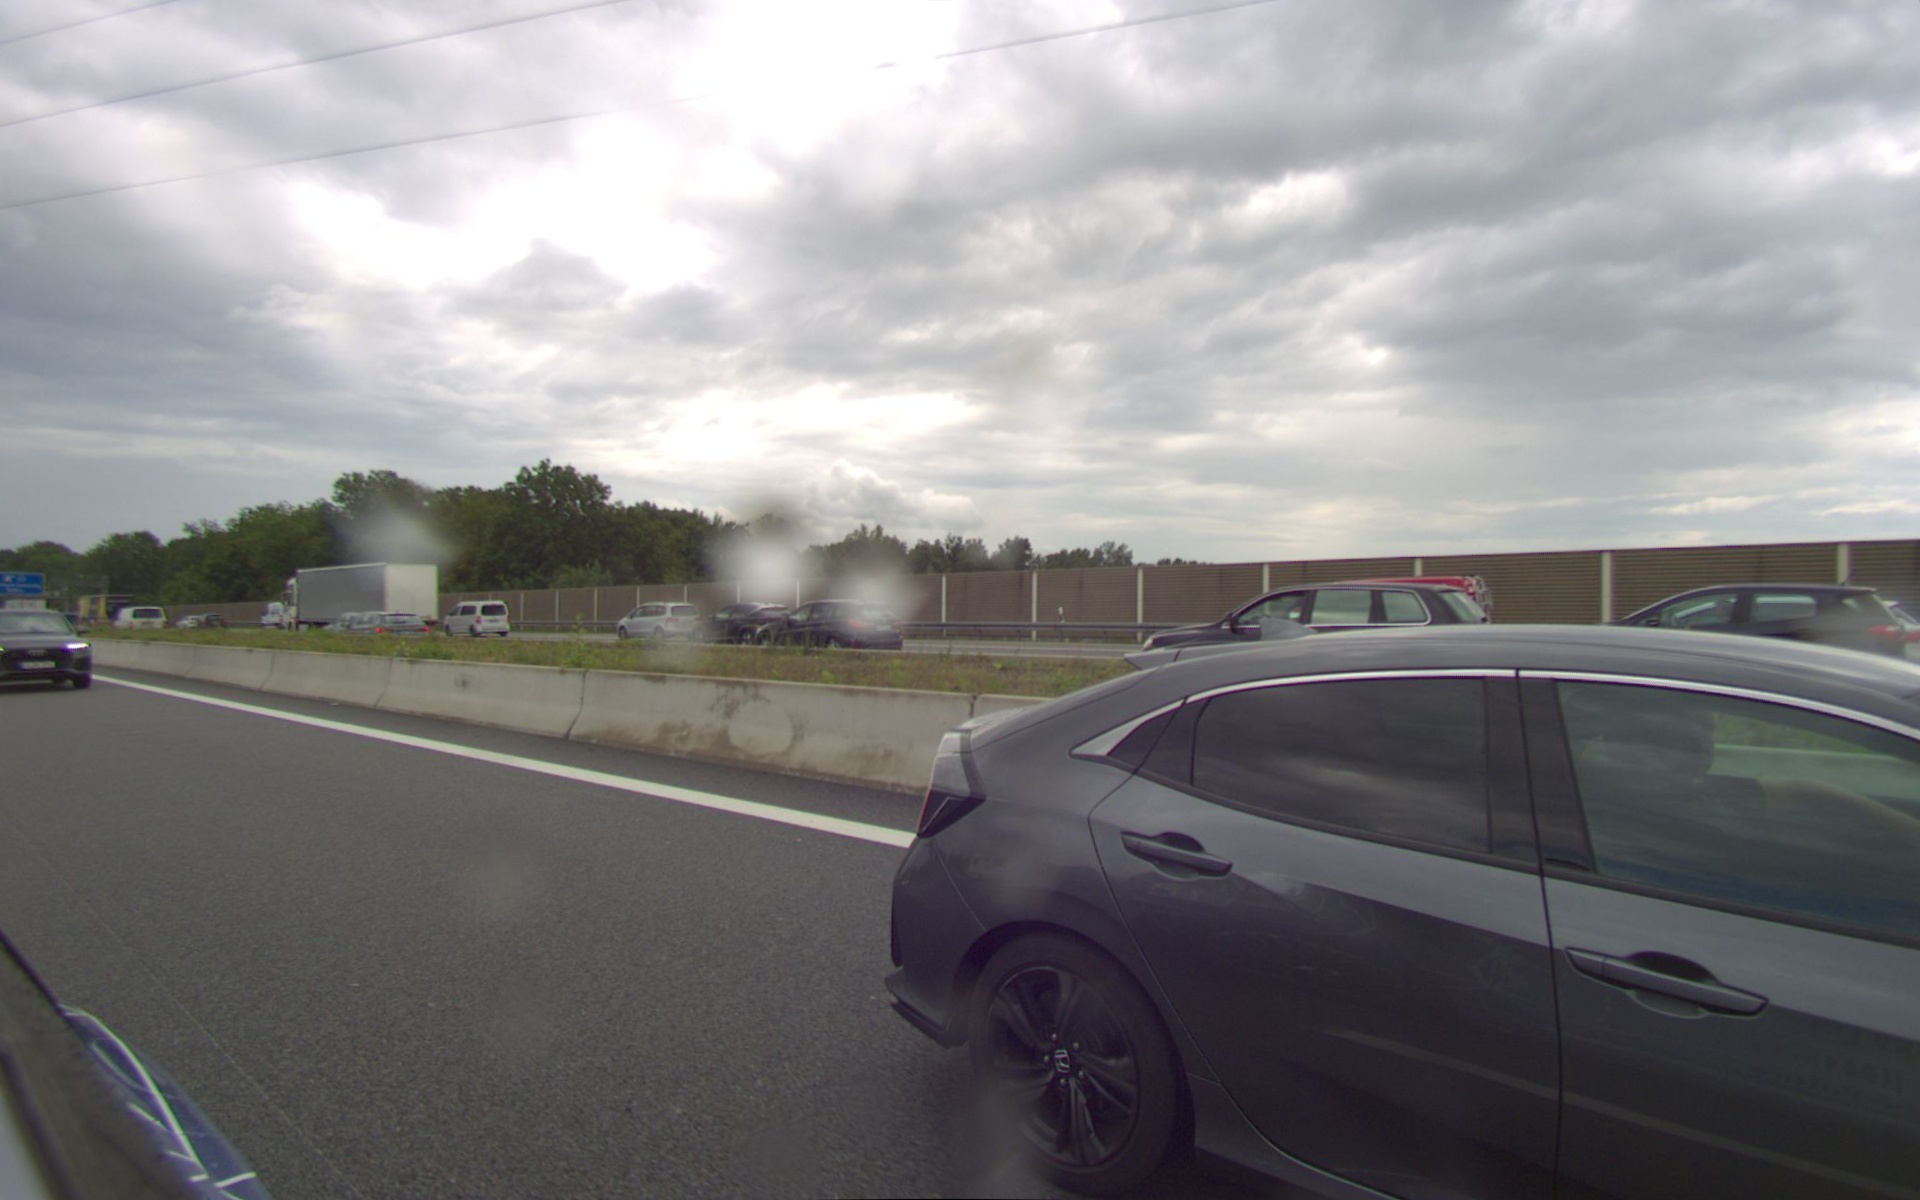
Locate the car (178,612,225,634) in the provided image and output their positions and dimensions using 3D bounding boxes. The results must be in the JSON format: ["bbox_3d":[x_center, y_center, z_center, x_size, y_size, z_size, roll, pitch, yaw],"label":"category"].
[{"bbox_3d":[-57.712,1.733,76.943,5.157,1.548,1.747,-1,0,40],"label":"car"}]

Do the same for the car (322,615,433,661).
[{"bbox_3d":[-20.309,1.288,35.172,5.082,1.465,1.747,-1,0,40],"label":"car"}]

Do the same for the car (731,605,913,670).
[{"bbox_3d":[-3.604,0.910,25.821,4.940,1.465,1.747,-1,0,40],"label":"car"}]

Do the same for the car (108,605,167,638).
[{"bbox_3d":[-50.464,1.332,62.053,5.157,1.914,1.903,-1,0,40],"label":"car"}]

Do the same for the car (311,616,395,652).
[{"bbox_3d":[-27.986,1.542,46.584,5.157,1.548,1.747,-1,0,40],"label":"car"}]

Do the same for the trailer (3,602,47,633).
[{"bbox_3d":[-126.216,2.405,136.500,14.042,3.915,2.697,-1,0,41],"label":"trailer"}]

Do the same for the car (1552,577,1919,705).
[{"bbox_3d":[10.372,0.478,13.299,4.230,1.465,1.747,-1,0,40],"label":"car"}]

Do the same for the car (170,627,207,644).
[{"bbox_3d":[-74.125,3.369,97.238,5.157,1.507,1.747,-1,0,40],"label":"car"}]

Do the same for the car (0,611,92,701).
[{"bbox_3d":[-20.052,1.112,21.520,5.169,1.704,1.887,-1,-1,43],"label":"car"}]

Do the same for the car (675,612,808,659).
[{"bbox_3d":[-7.421,1.159,34.078,4.940,1.465,1.747,-1,0,40],"label":"car"}]

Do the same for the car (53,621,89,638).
[{"bbox_3d":[-84.505,2.782,96.205,5.709,1.560,1.747,-1,0,40],"label":"car"}]

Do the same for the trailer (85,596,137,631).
[{"bbox_3d":[-102.377,1.632,121.886,14.045,3.993,2.650,-1,0,41],"label":"trailer"}]

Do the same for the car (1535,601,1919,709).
[{"bbox_3d":[12.191,0.802,16.210,4.940,1.465,1.747,-1,0,40],"label":"car"}]

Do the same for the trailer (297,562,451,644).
[{"bbox_3d":[-32.806,0.234,56.221,13.281,4.092,3.285,-1,0,41],"label":"trailer"}]

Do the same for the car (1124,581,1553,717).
[{"bbox_3d":[4.761,0.552,13.248,4.940,1.465,1.808,-1,0,40],"label":"car"}]

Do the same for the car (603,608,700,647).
[{"bbox_3d":[-13.707,1.198,44.807,4.940,1.622,1.747,-1,0,40],"label":"car"}]

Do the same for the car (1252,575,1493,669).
[{"bbox_3d":[9.581,0.494,23.775,4.940,1.982,1.747,-1,0,40],"label":"car"}]

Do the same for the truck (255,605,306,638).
[{"bbox_3d":[-53.235,1.652,79.232,5.798,2.435,2.093,-1,0,44],"label":"truck"}]

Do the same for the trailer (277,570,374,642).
[{"bbox_3d":[-38.263,0.360,60.972,6.076,4.074,3.285,-1,0,41],"label":"trailer"}]

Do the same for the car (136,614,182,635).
[{"bbox_3d":[-61.077,1.844,77.122,5.157,1.548,1.747,-1,0,40],"label":"car"}]

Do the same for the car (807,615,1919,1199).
[{"bbox_3d":[2.021,0.733,2.023,5.057,1.379,1.742,-1,-1,41],"label":"car"}]

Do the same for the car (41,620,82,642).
[{"bbox_3d":[-69.040,2.364,77.711,4.480,1.548,1.747,-1,0,40],"label":"car"}]

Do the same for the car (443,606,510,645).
[{"bbox_3d":[-27.165,1.416,56.810,3.999,2.029,1.981,-1,0,42],"label":"car"}]

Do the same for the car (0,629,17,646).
[{"bbox_3d":[-95.658,3.713,100.996,5.157,1.548,1.747,-1,0,40],"label":"car"}]
